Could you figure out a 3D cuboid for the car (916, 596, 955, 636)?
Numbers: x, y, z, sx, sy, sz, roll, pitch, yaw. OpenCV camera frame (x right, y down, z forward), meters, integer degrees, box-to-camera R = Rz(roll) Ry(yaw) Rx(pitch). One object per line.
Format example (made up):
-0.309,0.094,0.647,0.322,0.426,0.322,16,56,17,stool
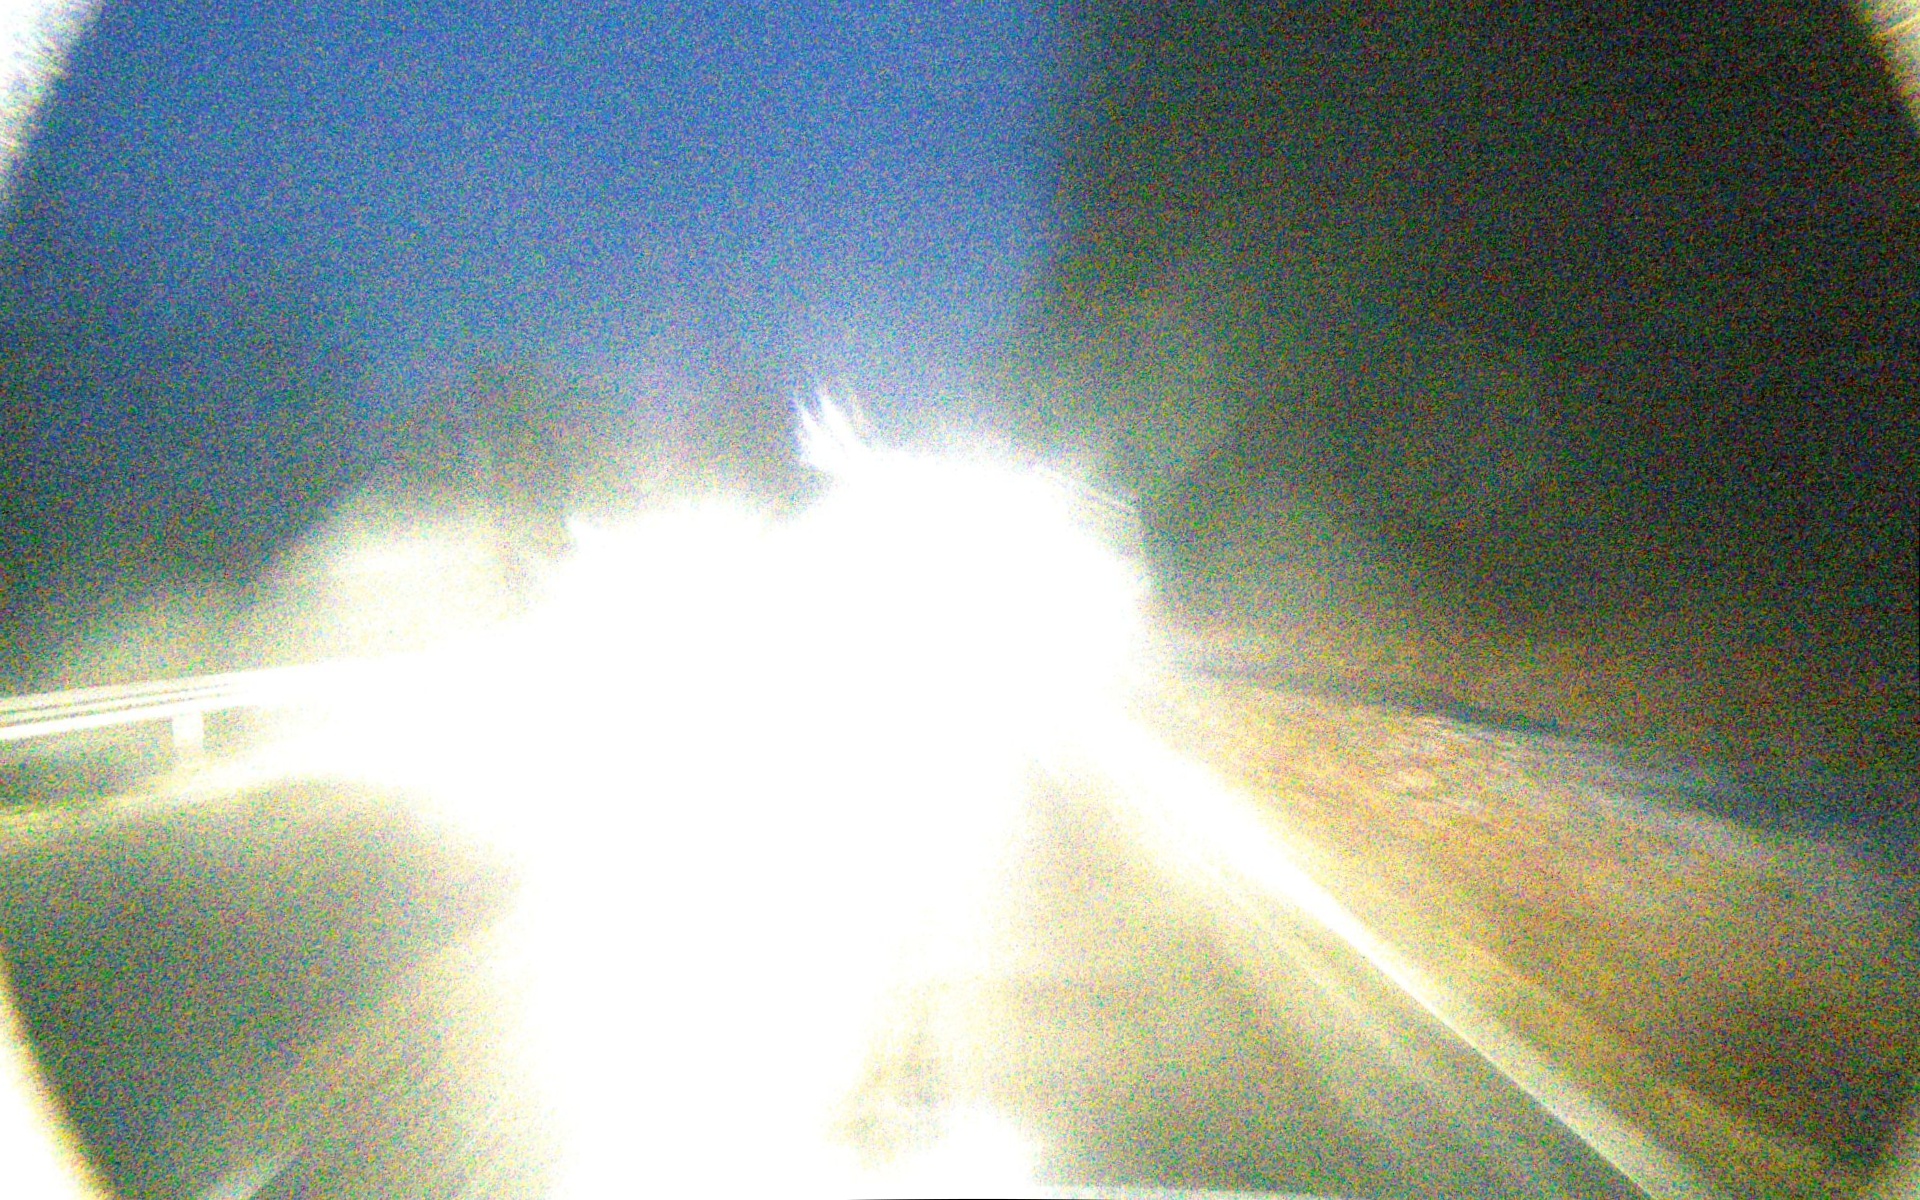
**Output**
-1.230,0.794,84.216,1.816,1.974,4.001,0,0,2,car

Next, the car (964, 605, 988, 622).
1.441,1.178,143.948,1.877,1.490,4.261,1,0,3,car

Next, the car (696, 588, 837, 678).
-3.259,0.522,28.550,1.953,1.415,3.846,1,0,0,car
